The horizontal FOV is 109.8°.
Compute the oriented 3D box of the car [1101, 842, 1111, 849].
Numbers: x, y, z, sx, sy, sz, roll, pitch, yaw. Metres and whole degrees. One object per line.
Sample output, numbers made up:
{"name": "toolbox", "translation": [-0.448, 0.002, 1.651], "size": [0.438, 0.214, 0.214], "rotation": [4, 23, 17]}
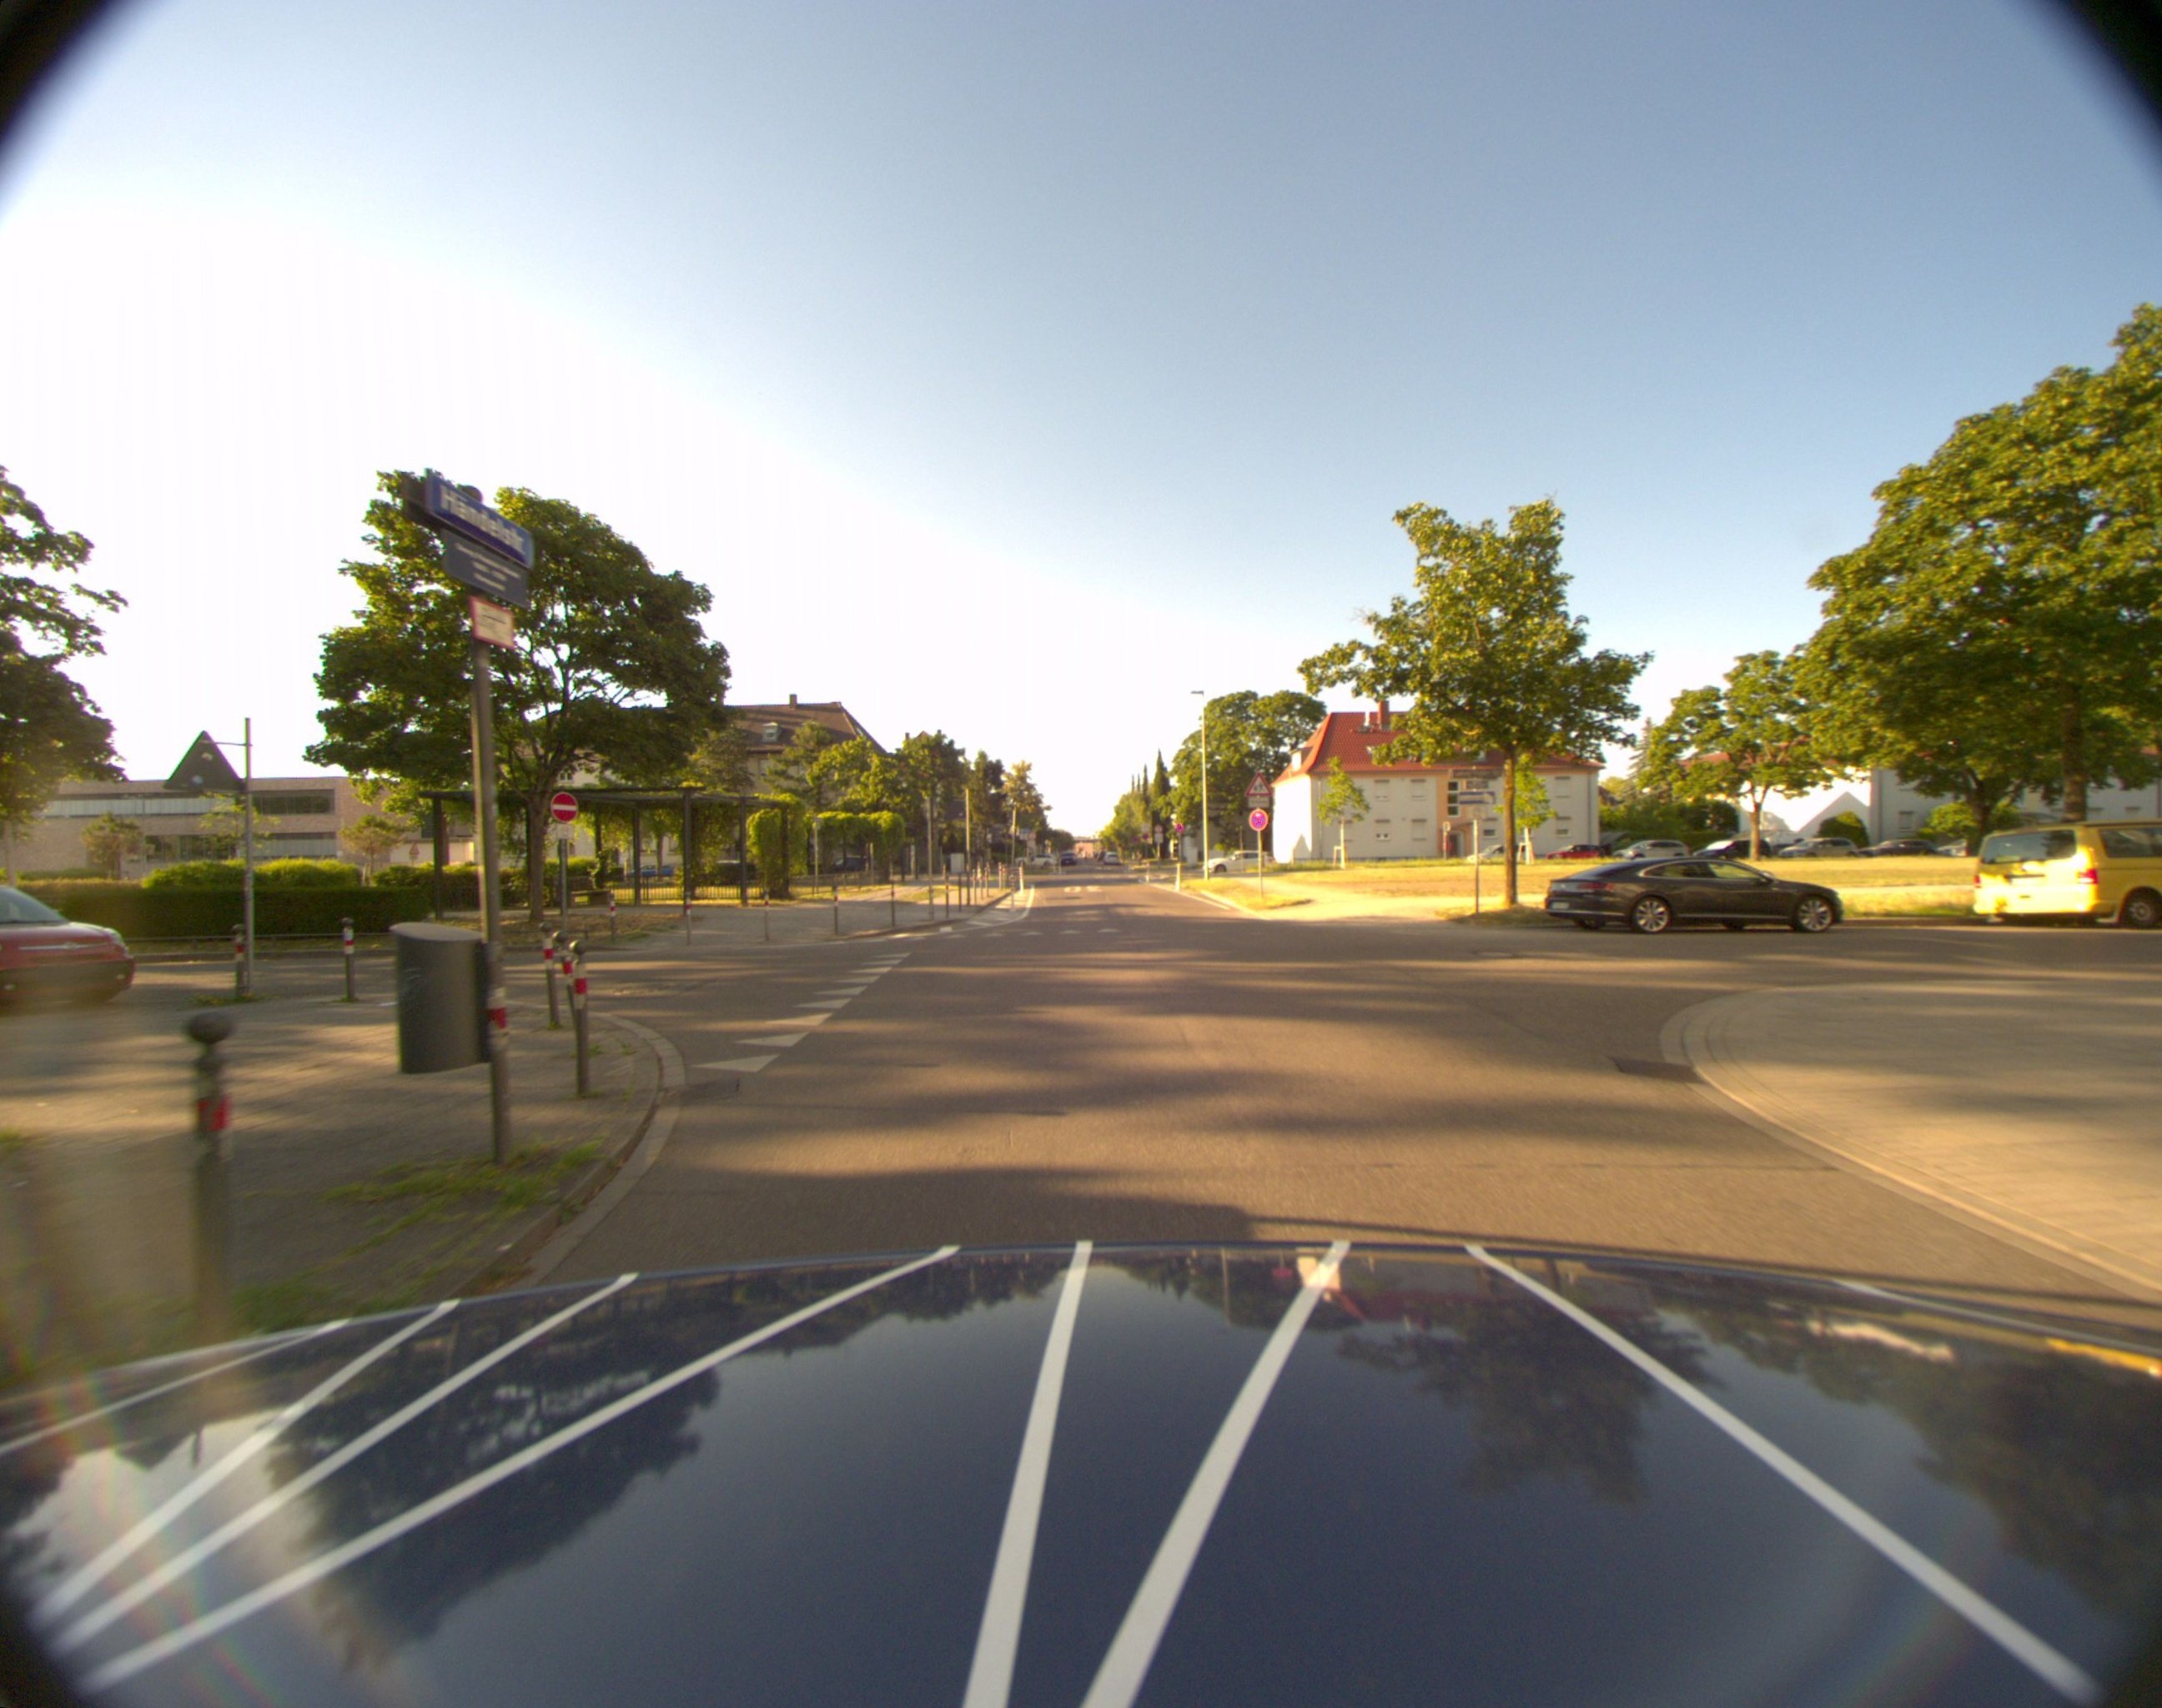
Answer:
{"name": "car", "translation": [5.478, -1.827, 168.386], "size": [1.970, 1.604, 4.247], "rotation": [-1, 0, 0]}

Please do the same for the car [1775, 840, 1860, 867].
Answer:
{"name": "car", "translation": [49.621, -0.031, 51.237], "size": [3.997, 1.685, 1.851], "rotation": [-1, -1, -1]}

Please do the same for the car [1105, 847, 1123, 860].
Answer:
{"name": "car", "translation": [3.943, -0.067, 91.899], "size": [1.970, 1.604, 4.247], "rotation": [-1, 0, 0]}

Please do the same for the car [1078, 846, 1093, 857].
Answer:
{"name": "car", "translation": [0.656, -0.431, 114.251], "size": [1.971, 1.604, 4.246], "rotation": [-1, 0, -3]}

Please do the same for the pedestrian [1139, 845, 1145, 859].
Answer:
{"name": "pedestrian", "translation": [8.813, -0.280, 109.549], "size": [0.898, 2.002, 0.693], "rotation": [-1, 1, 1]}

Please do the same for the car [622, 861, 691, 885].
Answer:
{"name": "car", "translation": [-29.124, 1.291, 52.202], "size": [3.756, 1.509, 1.736], "rotation": [-1, 1, 4]}

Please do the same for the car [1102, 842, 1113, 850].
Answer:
{"name": "car", "translation": [5.287, -1.516, 150.909], "size": [1.970, 1.604, 4.246], "rotation": [-1, 0, -2]}

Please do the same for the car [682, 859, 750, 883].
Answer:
{"name": "car", "translation": [-24.952, 1.176, 51.957], "size": [3.769, 1.517, 1.771], "rotation": [-1, 2, 4]}

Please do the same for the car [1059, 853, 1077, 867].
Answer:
{"name": "car", "translation": [-1.589, 0.648, 90.561], "size": [1.971, 1.604, 4.246], "rotation": [-1, 0, -3]}

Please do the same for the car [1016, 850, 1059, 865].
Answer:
{"name": "car", "translation": [-4.888, 0.393, 86.682], "size": [4.835, 1.604, 1.971], "rotation": [-1, 1, -1]}

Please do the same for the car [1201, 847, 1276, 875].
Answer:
{"name": "car", "translation": [9.933, 0.457, 48.134], "size": [4.298, 1.685, 1.871], "rotation": [-1, -1, -1]}

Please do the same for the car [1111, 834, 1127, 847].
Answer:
{"name": "car", "translation": [5.262, -1.866, 105.990], "size": [1.970, 1.604, 4.247], "rotation": [-1, 0, 0]}

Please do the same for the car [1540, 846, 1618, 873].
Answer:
{"name": "car", "translation": [33.699, 0.388, 51.478], "size": [3.997, 1.685, 1.851], "rotation": [-1, -1, -1]}

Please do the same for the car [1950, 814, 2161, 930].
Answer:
{"name": "car", "translation": [19.895, 0.340, 14.278], "size": [4.691, 2.001, 2.034], "rotation": [-1, -3, 0]}

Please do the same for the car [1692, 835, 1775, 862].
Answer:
{"name": "car", "translation": [43.962, -0.374, 51.249], "size": [3.997, 1.685, 1.851], "rotation": [-1, -1, -1]}

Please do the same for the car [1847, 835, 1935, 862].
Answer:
{"name": "car", "translation": [54.767, -0.334, 51.420], "size": [3.997, 1.685, 1.851], "rotation": [-1, -1, -1]}

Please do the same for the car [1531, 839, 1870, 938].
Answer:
{"name": "car", "translation": [11.384, 0.608, 14.215], "size": [4.835, 1.659, 1.788], "rotation": [-1, 1, 1]}

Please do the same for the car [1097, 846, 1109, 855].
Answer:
{"name": "car", "translation": [3.909, -0.625, 137.116], "size": [1.970, 1.604, 4.247], "rotation": [-1, 0, 0]}

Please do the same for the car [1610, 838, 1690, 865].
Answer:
{"name": "car", "translation": [38.371, -0.137, 51.262], "size": [3.997, 1.685, 1.851], "rotation": [-1, -1, -1]}

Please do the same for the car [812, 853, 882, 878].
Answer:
{"name": "car", "translation": [-15.855, 0.801, 51.601], "size": [4.214, 1.631, 1.823], "rotation": [-1, -2, -2]}

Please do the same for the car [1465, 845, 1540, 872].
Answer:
{"name": "car", "translation": [28.504, 0.329, 51.476], "size": [3.997, 1.685, 1.851], "rotation": [-1, -1, -1]}

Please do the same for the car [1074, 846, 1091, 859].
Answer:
{"name": "car", "translation": [0.164, -0.194, 102.458], "size": [1.971, 1.604, 4.246], "rotation": [-1, 0, -3]}

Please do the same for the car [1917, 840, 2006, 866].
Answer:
{"name": "car", "translation": [60.044, -0.047, 51.869], "size": [3.997, 1.685, 1.851], "rotation": [-1, -1, -1]}

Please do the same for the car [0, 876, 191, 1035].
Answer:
{"name": "car", "translation": [-13.839, 1.165, 9.090], "size": [4.086, 1.730, 1.812], "rotation": [-1, -2, -3]}
